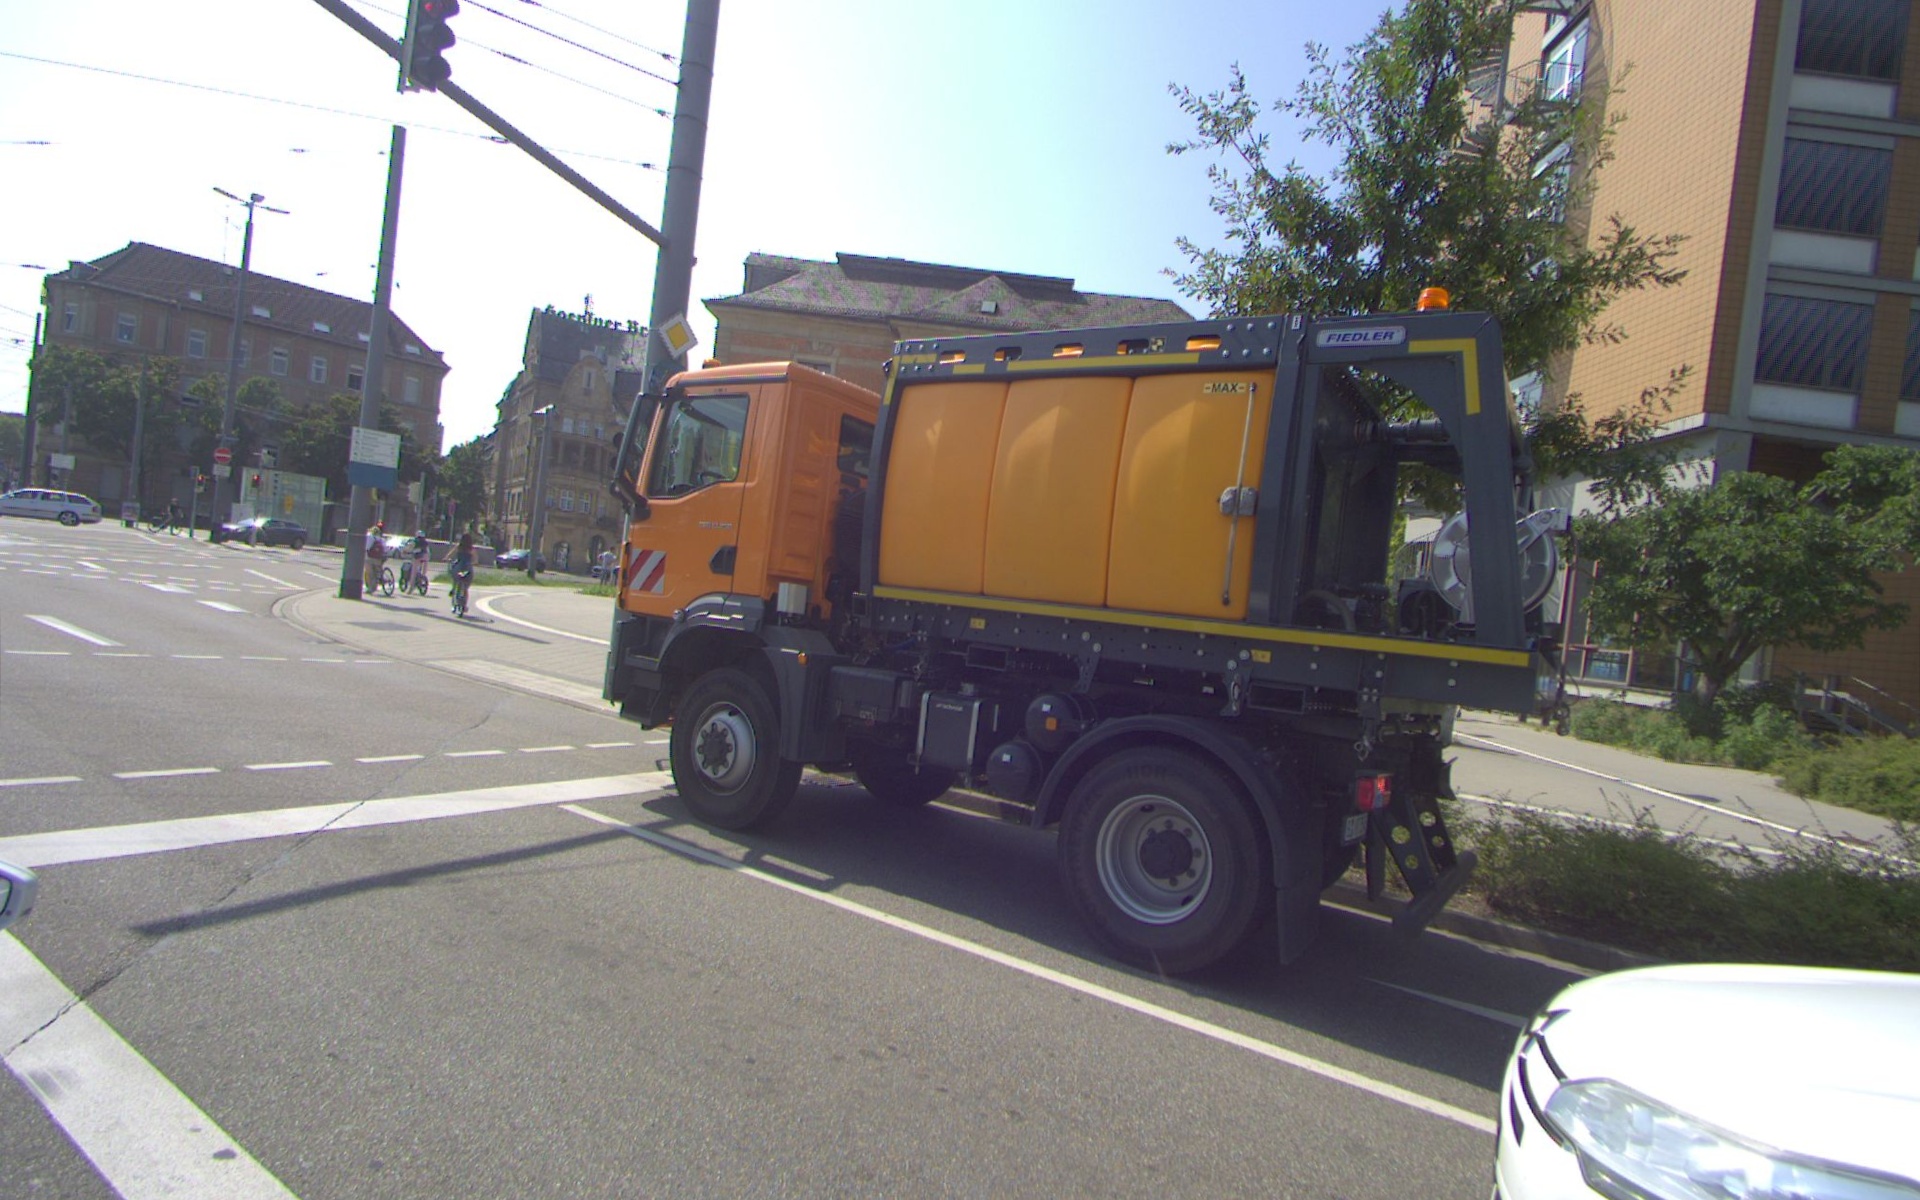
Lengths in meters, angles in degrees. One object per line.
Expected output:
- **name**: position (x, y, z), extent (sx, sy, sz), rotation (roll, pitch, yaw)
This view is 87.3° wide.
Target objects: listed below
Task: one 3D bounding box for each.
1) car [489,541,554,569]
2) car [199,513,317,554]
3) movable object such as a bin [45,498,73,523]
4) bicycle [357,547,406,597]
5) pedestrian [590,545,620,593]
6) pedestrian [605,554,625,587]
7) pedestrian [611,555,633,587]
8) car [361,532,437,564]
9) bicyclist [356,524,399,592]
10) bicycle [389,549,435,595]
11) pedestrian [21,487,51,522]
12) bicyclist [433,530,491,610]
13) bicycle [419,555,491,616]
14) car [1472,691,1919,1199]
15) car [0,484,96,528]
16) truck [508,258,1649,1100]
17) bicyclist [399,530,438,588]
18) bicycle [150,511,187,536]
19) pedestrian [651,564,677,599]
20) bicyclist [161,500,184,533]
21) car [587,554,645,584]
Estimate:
- **car**: position (-31.993, -3.240, 73.548), extent (1.962, 1.523, 4.628), rotation (7, 0, 12)
- **car**: position (-34.718, -3.258, 49.938), extent (1.742, 1.433, 4.771), rotation (7, 0, 13)
- **movable object such as a bin**: position (-44.074, -4.371, 49.200), extent (0.502, 1.091, 0.815), rotation (7, 1, 21)
- **bicycle**: position (-14.001, -0.684, 24.324), extent (1.632, 1.068, 0.535), rotation (7, 1, 45)
- **pedestrian**: position (-13.724, -1.201, 38.915), extent (0.808, 1.746, 0.546), rotation (6, 1, -9)
- **pedestrian**: position (-17.659, -1.487, 51.549), extent (0.727, 1.595, 0.787), rotation (6, 1, -14)
- **pedestrian**: position (-13.832, -1.178, 41.192), extent (0.659, 1.229, 0.523), rotation (6, 1, -30)
- **car**: position (-33.705, -3.123, 60.620), extent (1.742, 1.433, 4.203), rotation (7, 0, 7)
- **bicyclist**: position (-14.171, -1.025, 24.476), extent (0.702, 1.537, 0.626), rotation (7, 1, 44)
- **bicycle**: position (-14.480, -0.745, 26.585), extent (1.632, 1.068, 0.535), rotation (7, 1, 45)
- **pedestrian**: position (-44.714, -4.620, 48.679), extent (0.519, 1.564, 0.852), rotation (7, 1, 24)
- **bicyclist**: position (-10.277, -0.614, 20.757), extent (0.653, 1.537, 0.734), rotation (7, 1, 36)
- **bicycle**: position (-10.494, -0.313, 20.883), extent (1.795, 1.068, 0.492), rotation (7, 1, 37)
- **car**: position (3.199, 1.161, 1.143), extent (4.534, 1.446, 1.770), rotation (7, 0, 33)
- **car**: position (-40.234, -4.149, 43.577), extent (4.158, 1.433, 1.755), rotation (7, 0, -41)
- **truck**: position (0.276, 0.101, 6.694), extent (6.751, 3.171, 2.496), rotation (7, -2, 34)
- **bicyclist**: position (-14.166, -1.072, 26.311), extent (0.882, 1.410, 0.529), rotation (7, 1, 44)
- **bicycle**: position (-39.926, -3.871, 50.754), extent (1.622, 1.068, 0.471), rotation (7, 1, 12)
- **pedestrian**: position (-12.809, -0.815, 43.570), extent (0.679, 1.417, 0.767), rotation (7, 1, 7)
- **bicyclist**: position (-39.699, -4.209, 50.722), extent (0.511, 1.548, 0.613), rotation (7, 1, 8)
- **car**: position (-29.796, -2.661, 87.234), extent (1.964, 2.038, 4.621), rotation (7, 0, 26)
